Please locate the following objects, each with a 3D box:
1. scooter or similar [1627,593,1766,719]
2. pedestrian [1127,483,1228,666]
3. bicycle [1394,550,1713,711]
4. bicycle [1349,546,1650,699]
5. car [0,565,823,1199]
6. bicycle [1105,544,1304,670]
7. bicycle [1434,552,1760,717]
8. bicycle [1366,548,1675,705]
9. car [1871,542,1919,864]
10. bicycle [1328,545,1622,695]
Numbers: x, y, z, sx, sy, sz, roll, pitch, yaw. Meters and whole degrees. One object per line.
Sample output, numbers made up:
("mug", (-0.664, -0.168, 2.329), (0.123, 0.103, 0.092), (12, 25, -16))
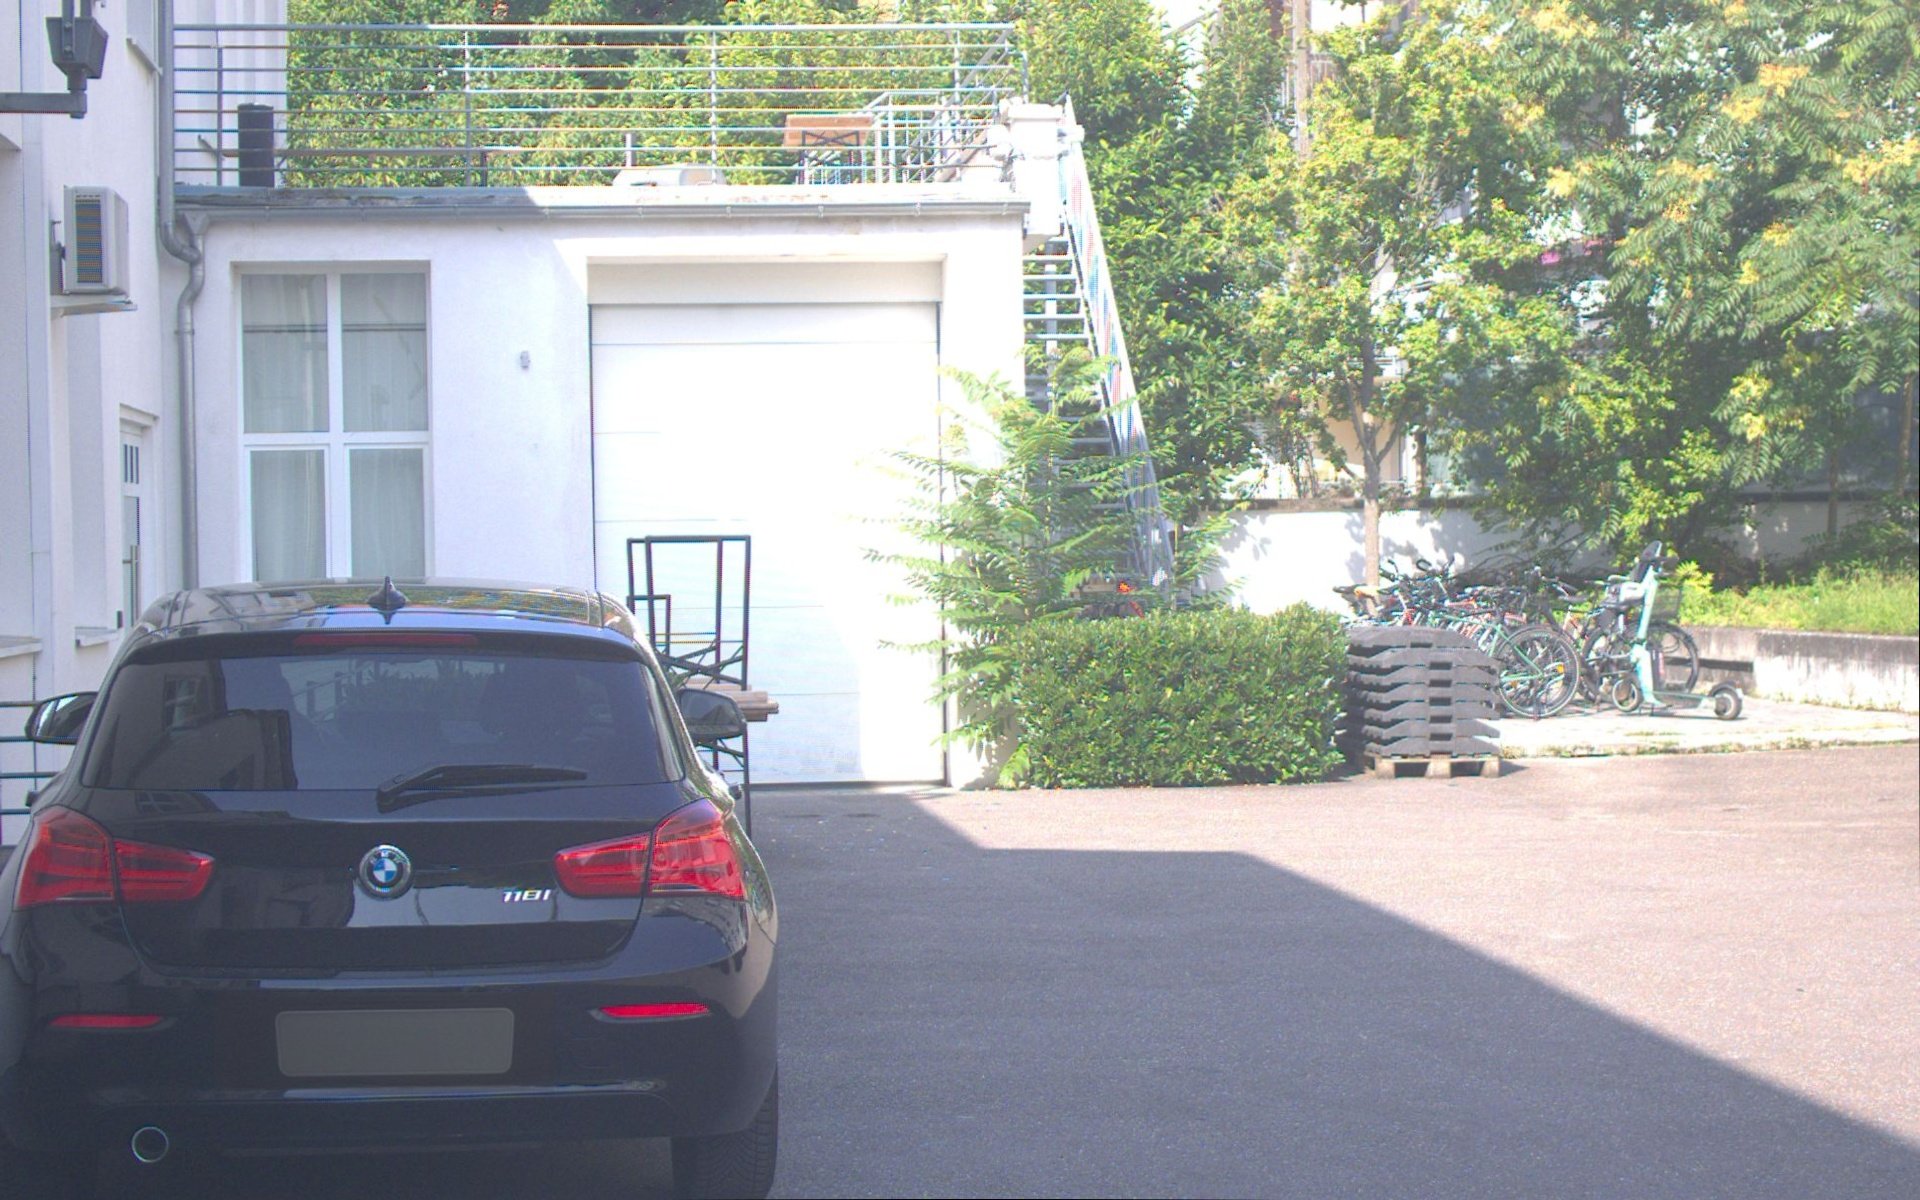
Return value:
("scooter or similar", (5.592, 0.415, 26.123), (0.359, 0.921, 0.999), (-1, 1, -44))
("pedestrian", (2.132, -0.258, 33.794), (0.609, 1.765, 0.861), (-1, 1, -32))
("bicycle", (4.657, 0.229, 27.010), (2.410, 1.242, 0.526), (0, 1, -6))
("bicycle", (4.464, 0.181, 28.468), (2.410, 1.242, 0.526), (0, 1, -6))
("car", (-1.502, 0.643, 9.037), (1.792, 1.423, 4.137), (0, 1, -9))
("bicycle", (2.402, 0.052, 33.650), (1.987, 1.140, 0.490), (-3, 2, -30))
("bicycle", (4.888, 0.254, 26.399), (2.410, 1.242, 0.526), (0, 1, -6))
("bicycle", (4.529, 0.208, 27.797), (2.410, 1.242, 0.526), (0, 1, -6))
("car", (6.352, 0.426, 15.830), (3.895, 1.461, 1.663), (-2, 2, -20))
("bicycle", (4.355, 0.161, 29.118), (2.410, 1.242, 0.526), (0, 1, -6))
